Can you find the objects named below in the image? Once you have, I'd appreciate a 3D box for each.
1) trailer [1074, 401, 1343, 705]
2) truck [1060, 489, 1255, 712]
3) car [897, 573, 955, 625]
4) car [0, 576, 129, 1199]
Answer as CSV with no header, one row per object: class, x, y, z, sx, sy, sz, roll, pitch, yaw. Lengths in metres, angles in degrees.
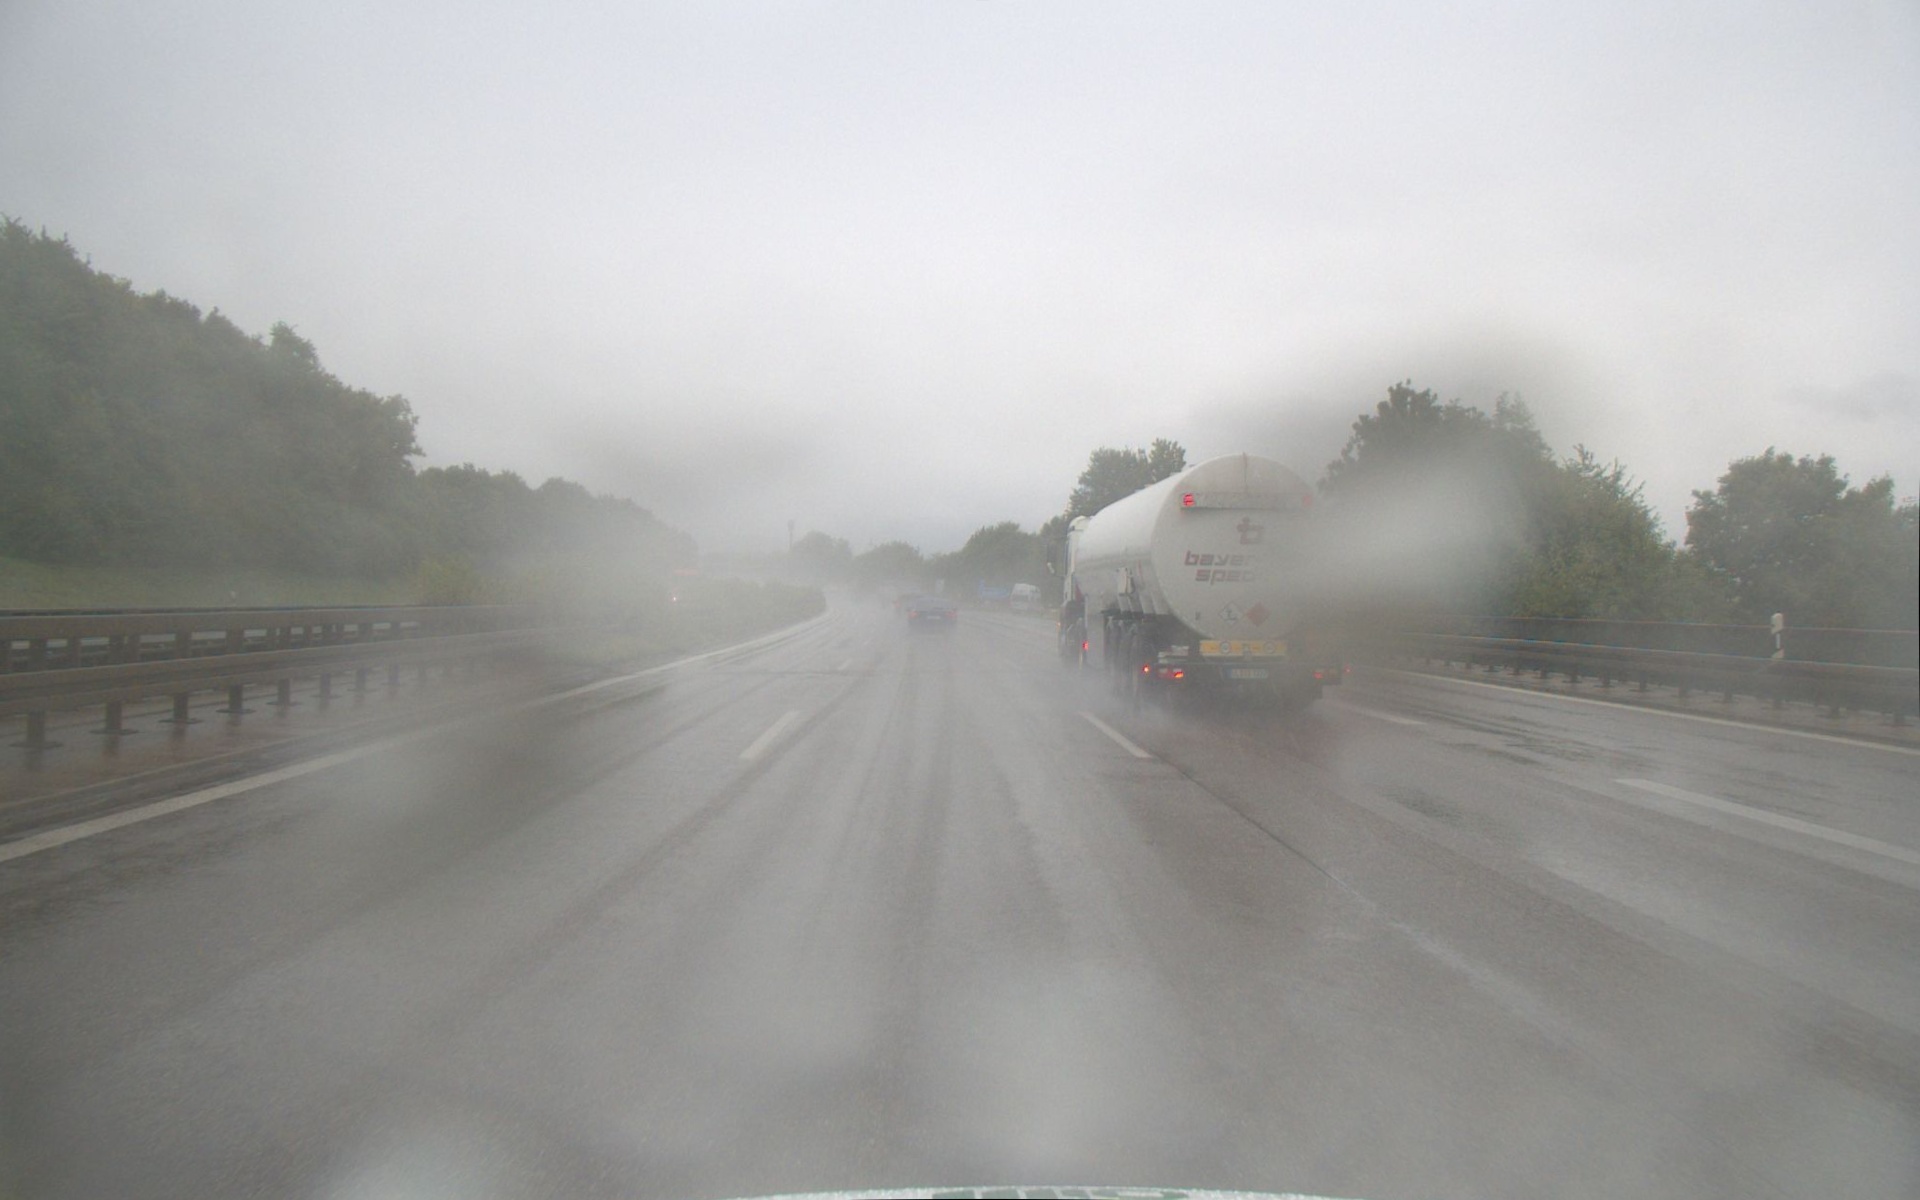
trailer,3.497,-0.617,25.645,2.943,3.915,8.624,0,0,0
truck,3.508,0.007,30.960,2.883,3.749,6.361,0,0,0
car,-1.279,-0.064,60.163,1.939,1.787,4.479,1,1,-3
car,-3.283,0.702,1.892,2.012,1.511,5.158,1,0,0
